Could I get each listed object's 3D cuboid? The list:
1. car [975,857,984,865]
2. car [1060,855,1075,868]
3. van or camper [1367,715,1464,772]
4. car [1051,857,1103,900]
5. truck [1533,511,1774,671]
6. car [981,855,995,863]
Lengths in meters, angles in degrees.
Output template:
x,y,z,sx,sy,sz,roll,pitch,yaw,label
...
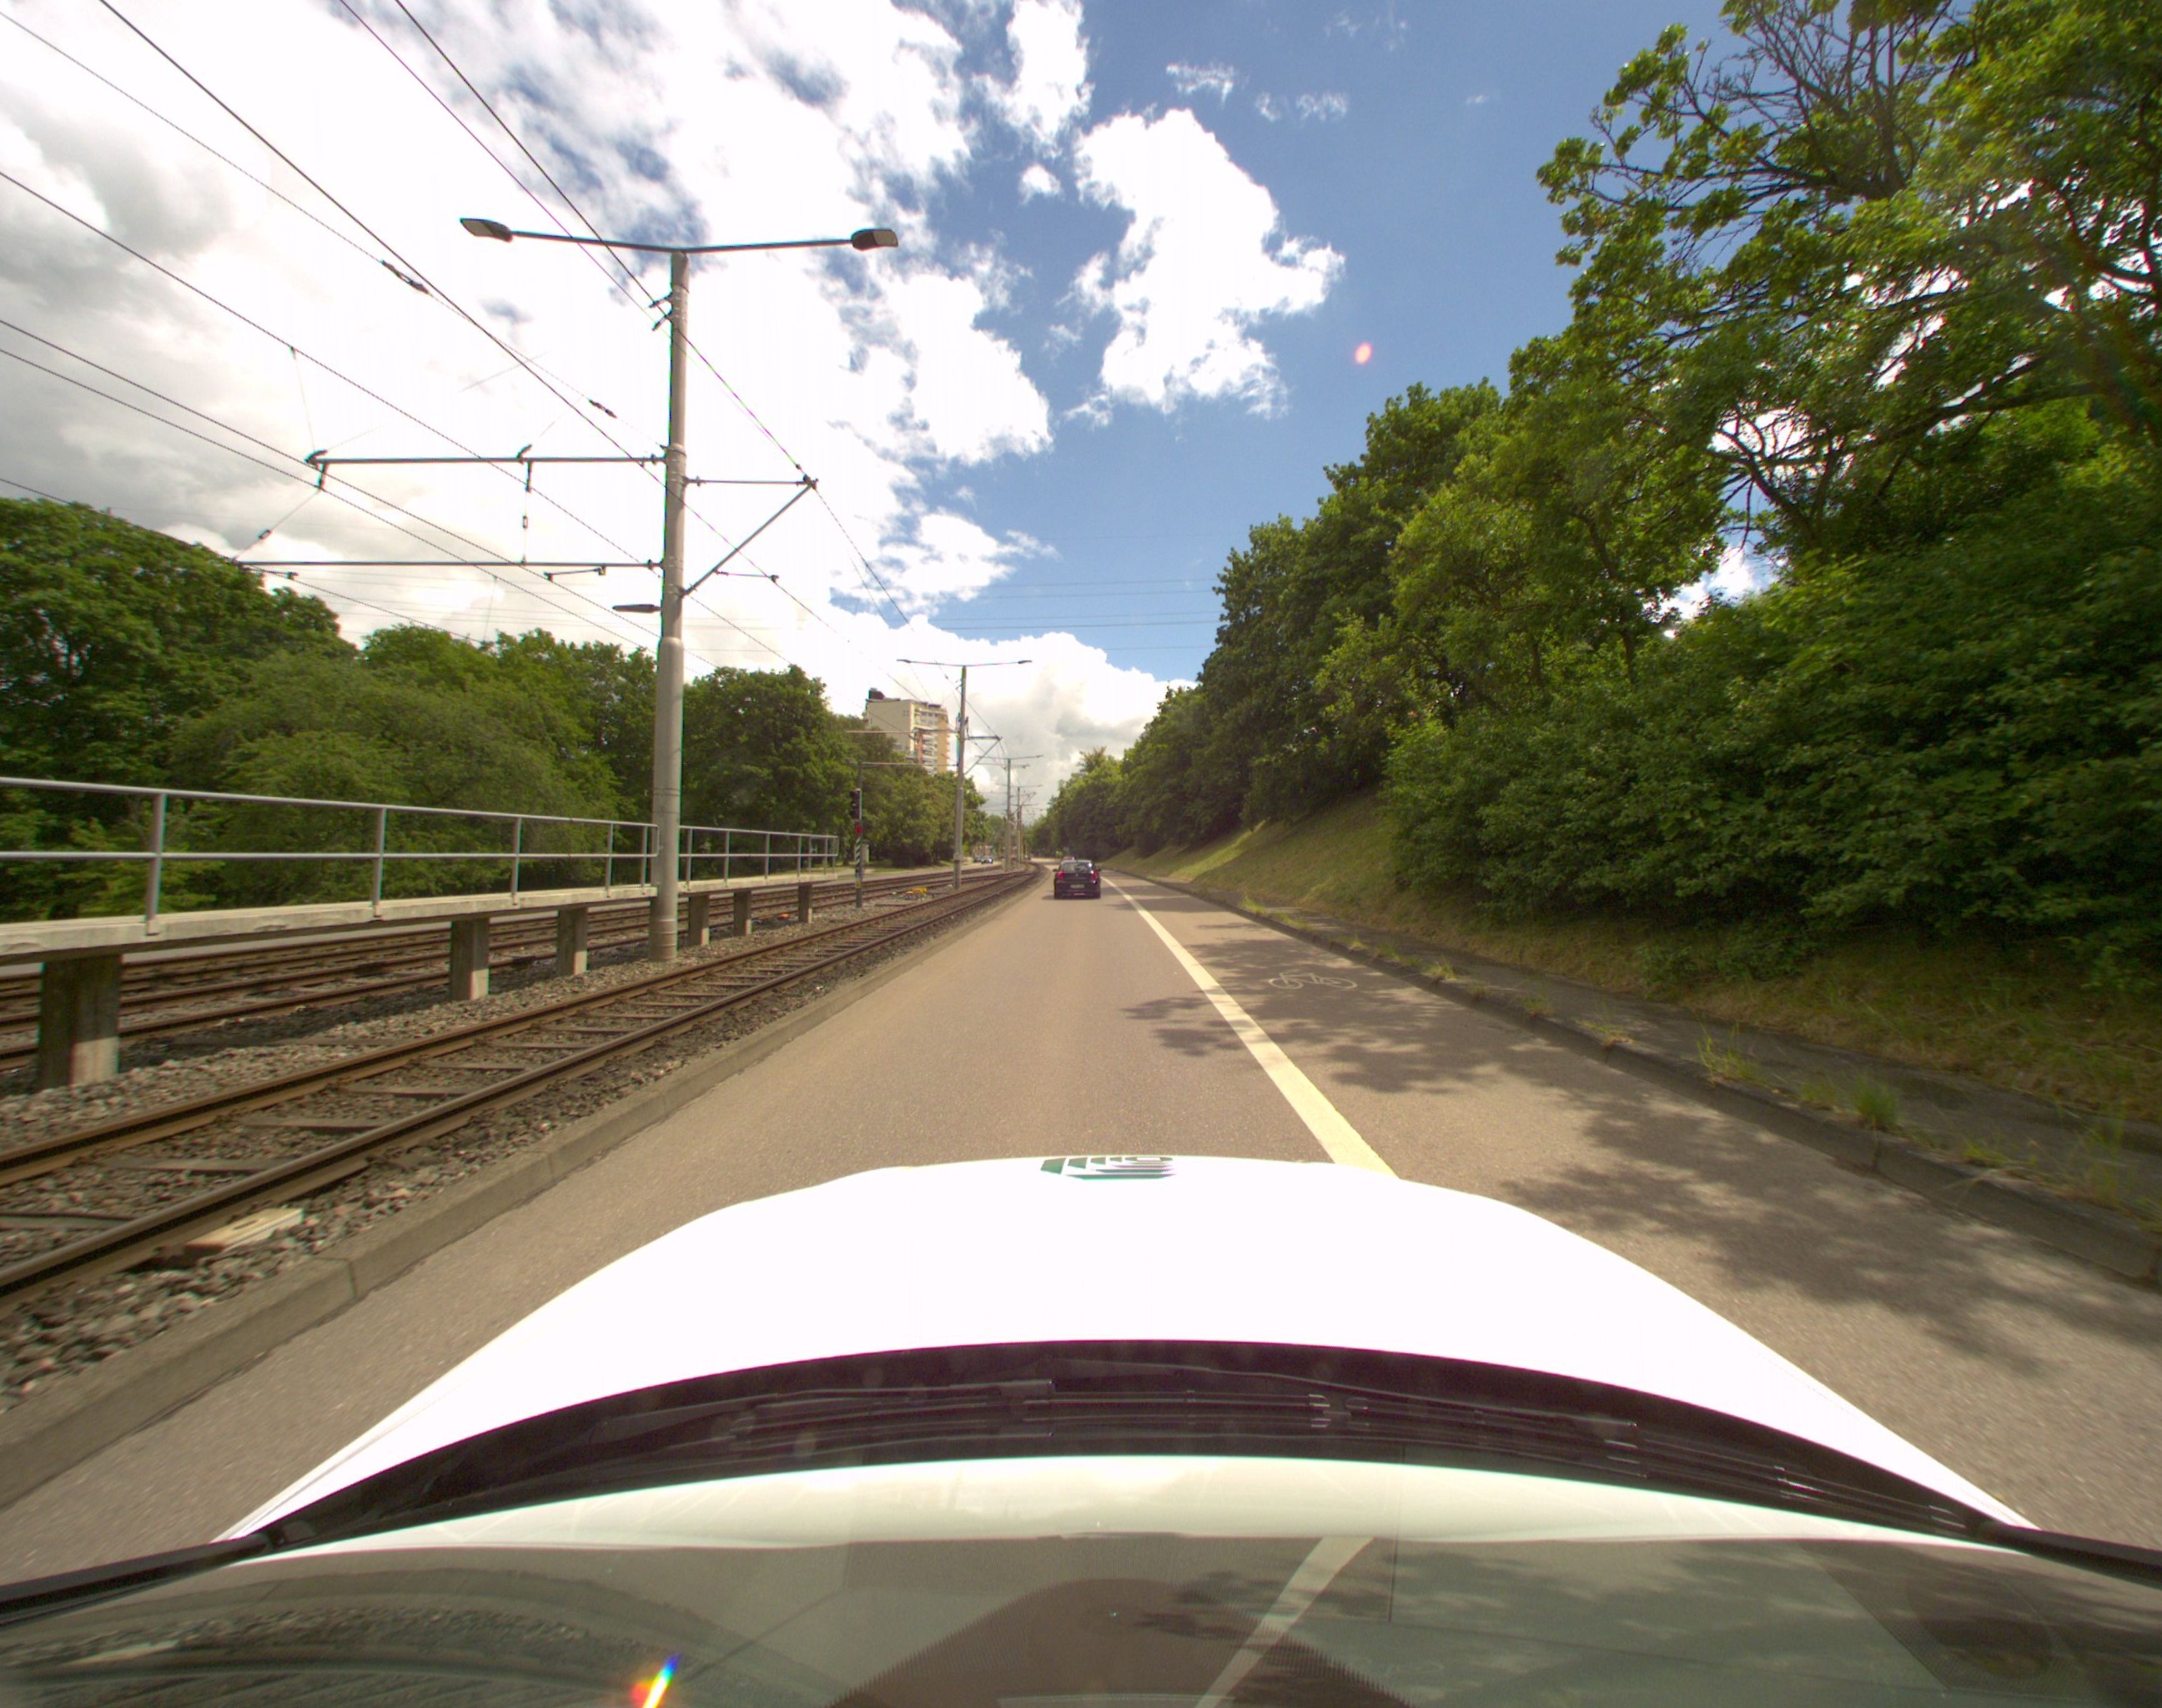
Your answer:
x,y,z,sx,sy,sz,roll,pitch,yaw,label
-21.007,1.444,168.172,1.772,1.498,3.987,0,0,-7,car
-1.623,0.887,97.330,1.777,1.459,3.917,0,0,-2,car
16.915,-5.532,41.660,2.211,2.069,6.156,0,0,-3,van or camper
-0.212,0.875,30.734,1.777,1.459,3.917,-1,0,-3,car
17.244,-7.813,25.256,2.344,2.658,7.034,0,0,-2,truck
-16.489,0.874,144.386,1.830,1.391,4.859,-2,0,-1,car
